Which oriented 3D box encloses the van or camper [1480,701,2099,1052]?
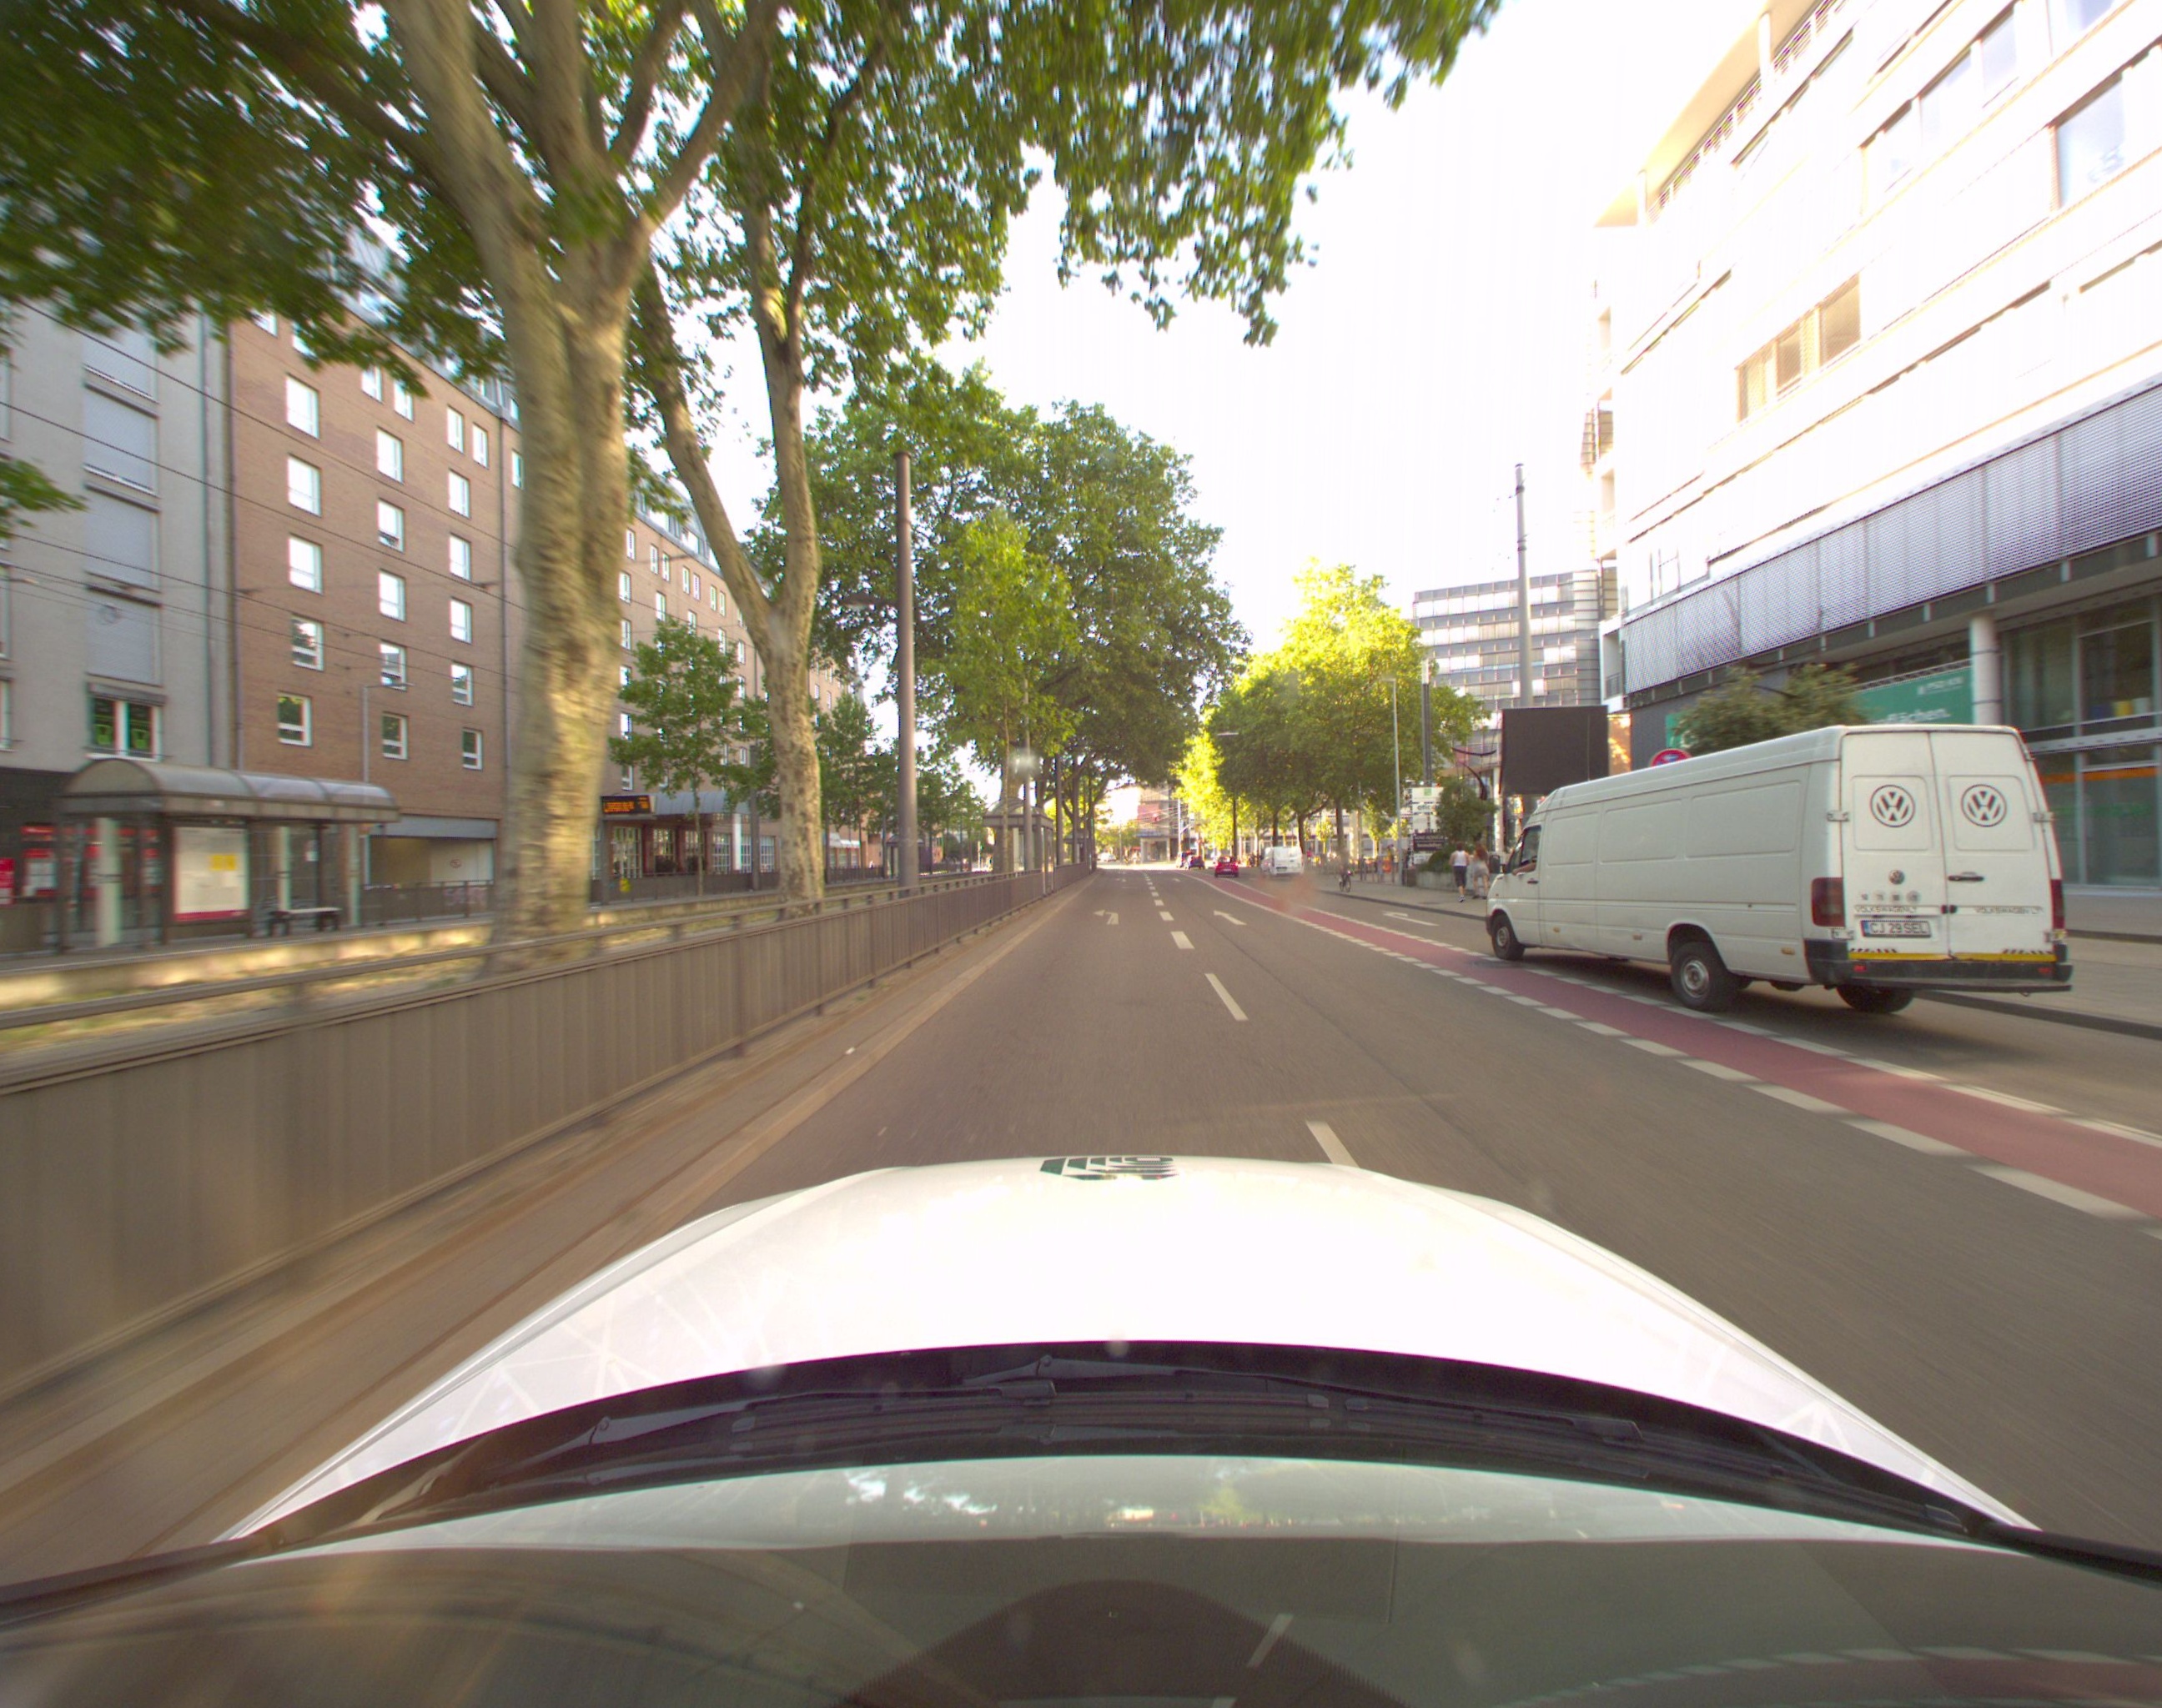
[{"bbox_3d":[7.046,0.170,9.495,1.961,2.716,6.309,0,0,3],"label":"van or camper"}]

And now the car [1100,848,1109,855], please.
[{"bbox_3d":[5.355,-0.595,186.618,1.773,1.588,3.409,-1,0,-2],"label":"car"}]

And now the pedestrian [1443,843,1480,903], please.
[{"bbox_3d":[11.345,0.552,24.297,0.562,1.702,0.907,-4,0,1],"label":"pedestrian"}]

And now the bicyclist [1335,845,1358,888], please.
[{"bbox_3d":[10.918,0.507,33.476,0.647,1.702,0.952,-1,-1,2],"label":"bicyclist"}]

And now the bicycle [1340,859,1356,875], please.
[{"bbox_3d":[17.618,0.844,53.763,0.501,0.982,1.768,-2,0,2],"label":"bicycle"}]

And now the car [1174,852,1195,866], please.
[{"bbox_3d":[11.680,0.560,91.947,1.773,1.535,3.509,-1,0,-2],"label":"car"}]

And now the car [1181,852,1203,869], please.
[{"bbox_3d":[11.689,0.671,85.809,1.632,1.800,3.326,-2,0,-3],"label":"car"}]

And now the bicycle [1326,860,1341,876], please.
[{"bbox_3d":[16.650,0.904,53.786,0.466,0.982,1.768,-2,0,2],"label":"bicycle"}]

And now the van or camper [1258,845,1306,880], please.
[{"bbox_3d":[11.898,0.494,48.500,1.985,1.989,4.750,-1,0,4],"label":"van or camper"}]

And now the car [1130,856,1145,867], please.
[{"bbox_3d":[7.889,1.015,113.908,1.773,1.535,3.509,-1,0,-2],"label":"car"}]

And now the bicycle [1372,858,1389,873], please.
[{"bbox_3d":[19.741,0.742,53.637,0.501,0.982,1.768,-2,0,2],"label":"bicycle"}]

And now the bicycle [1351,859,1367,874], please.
[{"bbox_3d":[18.341,0.805,53.756,0.501,0.982,1.768,-2,0,2],"label":"bicycle"}]

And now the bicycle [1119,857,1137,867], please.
[{"bbox_3d":[5.725,1.013,99.484,2.010,1.214,0.837,-1,0,-7],"label":"bicycle"}]

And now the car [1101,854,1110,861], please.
[{"bbox_3d":[5.496,0.809,180.587,1.773,1.535,3.409,-1,0,-2],"label":"car"}]

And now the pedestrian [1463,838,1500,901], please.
[{"bbox_3d":[12.025,0.457,24.493,0.538,1.796,0.907,-4,0,1],"label":"pedestrian"}]

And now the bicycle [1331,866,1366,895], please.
[{"bbox_3d":[10.902,1.058,33.266,0.680,1.067,2.471,-2,0,2],"label":"bicycle"}]

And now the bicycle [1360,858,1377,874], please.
[{"bbox_3d":[18.952,0.786,53.742,0.501,0.982,1.768,-2,0,2],"label":"bicycle"}]

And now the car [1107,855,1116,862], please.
[{"bbox_3d":[6.470,0.986,173.947,1.773,1.535,3.409,-1,0,-2],"label":"car"}]

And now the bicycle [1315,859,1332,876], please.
[{"bbox_3d":[16.011,0.877,53.823,0.583,1.067,1.901,-2,0,2],"label":"bicycle"}]

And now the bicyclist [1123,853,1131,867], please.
[{"bbox_3d":[5.624,0.723,99.454,0.835,1.591,0.837,-1,0,-6],"label":"bicyclist"}]

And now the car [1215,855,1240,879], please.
[{"bbox_3d":[10.168,0.887,56.668,1.604,1.535,3.420,-1,0,9],"label":"car"}]
